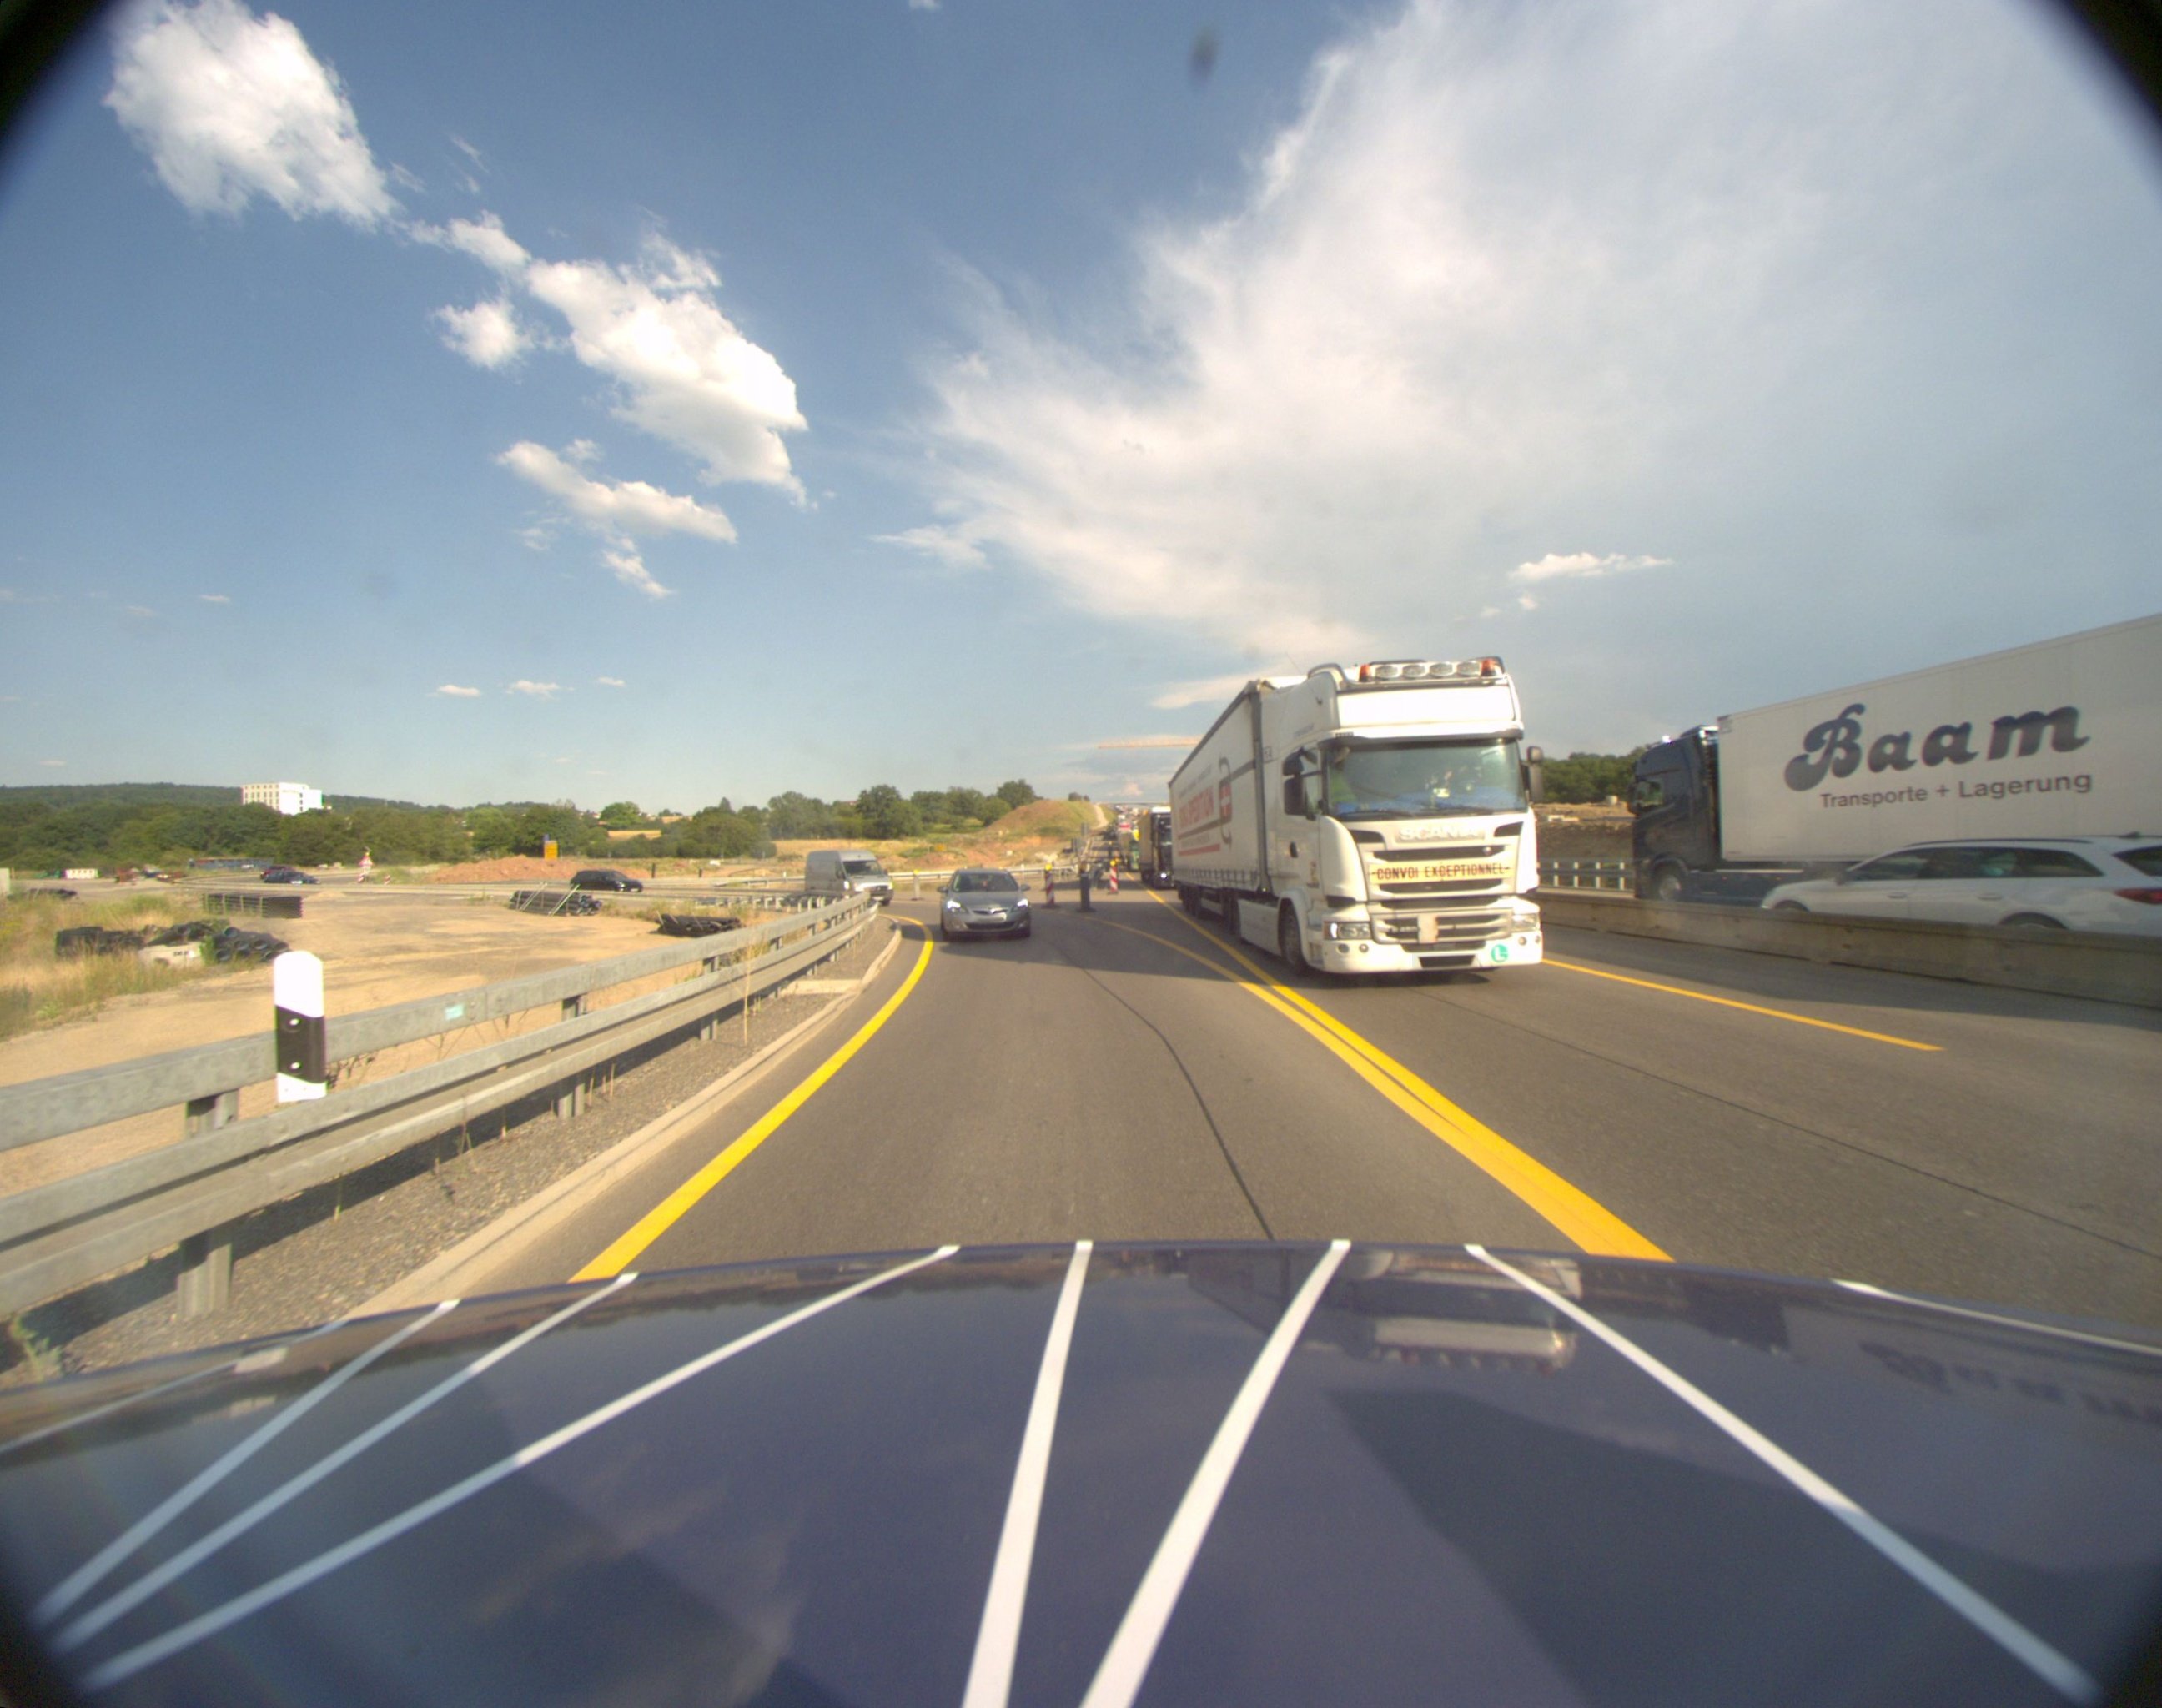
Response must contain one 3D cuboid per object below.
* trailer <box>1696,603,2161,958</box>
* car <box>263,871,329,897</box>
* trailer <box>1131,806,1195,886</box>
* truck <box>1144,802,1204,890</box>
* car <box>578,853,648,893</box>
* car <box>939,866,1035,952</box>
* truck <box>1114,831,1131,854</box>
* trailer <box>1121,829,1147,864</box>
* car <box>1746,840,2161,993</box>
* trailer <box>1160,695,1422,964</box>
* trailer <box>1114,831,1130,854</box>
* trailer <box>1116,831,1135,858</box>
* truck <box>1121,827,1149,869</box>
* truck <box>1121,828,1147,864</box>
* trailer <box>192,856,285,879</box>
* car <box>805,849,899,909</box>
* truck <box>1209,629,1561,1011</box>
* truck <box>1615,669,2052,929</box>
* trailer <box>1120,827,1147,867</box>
[{"bbox_3d":[13.613,-0.826,8.468,2.633,4.043,14.081,0,1,3],"label":"trailer"},{"bbox_3d":[-58.243,2.225,56.368,4.118,1.776,1.639,1,1,16],"label":"car"},{"bbox_3d":[4.646,-0.465,45.644,2.486,4.038,13.629,-1,1,1],"label":"trailer"},{"bbox_3d":[4.563,-0.393,38.311,2.486,4.037,6.012,-1,1,2],"label":"truck"},{"bbox_3d":[-29.799,1.176,48.363,3.989,2.389,1.880,1,1,25],"label":"car"},{"bbox_3d":[-2.170,1.074,16.589,1.749,1.476,4.247,-2,1,-11],"label":"car"},{"bbox_3d":[8.044,-2.228,147.113,3.110,4.289,6.897,0,1,3],"label":"truck"},{"bbox_3d":[6.971,-1.031,101.279,3.111,4.289,14.253,0,1,3],"label":"trailer"},{"bbox_3d":[10.566,0.544,8.742,1.912,1.357,4.452,0,1,0],"label":"car"},{"bbox_3d":[3.762,-0.422,17.857,2.486,3.856,13.629,-1,1,1],"label":"trailer"},{"bbox_3d":[8.432,-2.326,155.342,3.111,4.289,14.253,0,1,3],"label":"trailer"},{"bbox_3d":[7.420,-1.555,127.946,3.111,4.289,14.253,0,1,3],"label":"trailer"},{"bbox_3d":[5.227,-0.566,74.455,2.486,3.879,6.012,-1,1,2],"label":"truck"},{"bbox_3d":[6.606,-0.976,95.335,3.110,4.289,6.897,0,1,3],"label":"truck"},{"bbox_3d":[-95.626,1.471,86.467,3.013,2.400,7.223,-1,1,-6],"label":"trailer"},{"bbox_3d":[-10.556,1.032,34.690,1.921,2.486,5.780,0,1,-41],"label":"car"},{"bbox_3d":[3.628,-0.376,10.774,2.487,3.856,6.010,-1,1,-1],"label":"truck"},{"bbox_3d":[13.942,-0.893,14.990,2.633,4.043,6.130,0,1,3],"label":"truck"},{"bbox_3d":[5.559,-0.746,82.770,2.486,3.936,13.976,-1,1,2],"label":"trailer"}]
